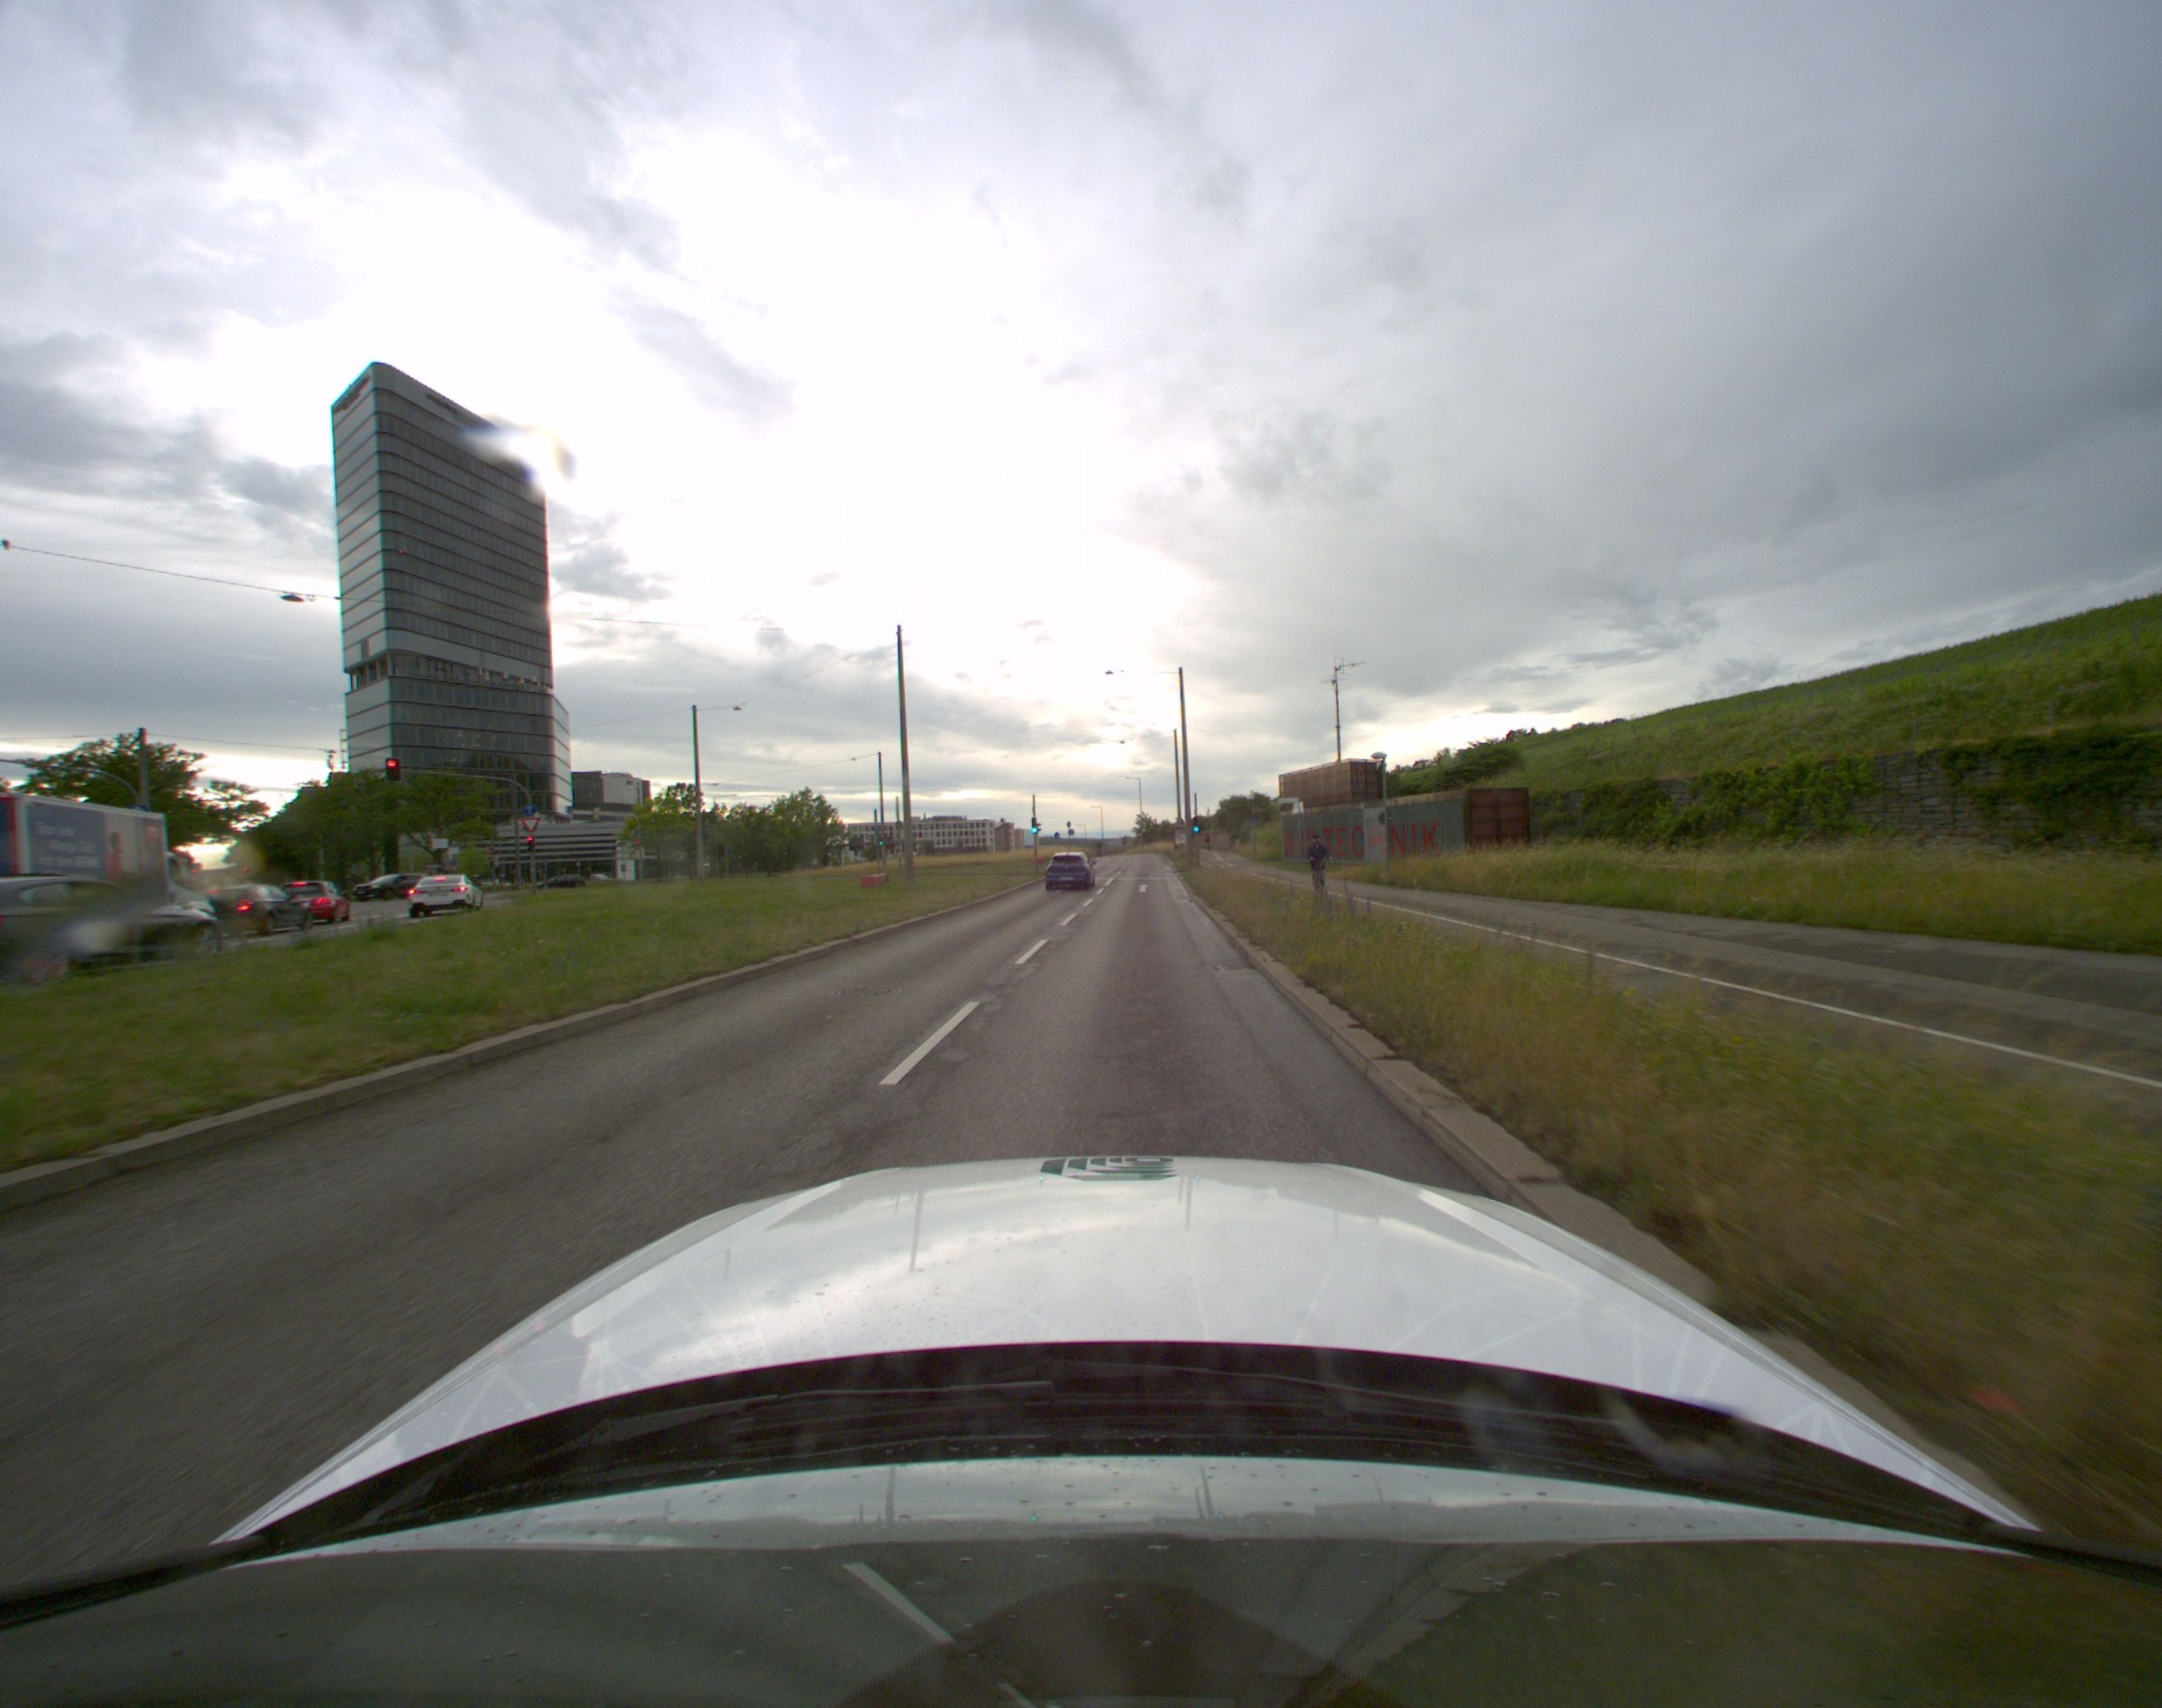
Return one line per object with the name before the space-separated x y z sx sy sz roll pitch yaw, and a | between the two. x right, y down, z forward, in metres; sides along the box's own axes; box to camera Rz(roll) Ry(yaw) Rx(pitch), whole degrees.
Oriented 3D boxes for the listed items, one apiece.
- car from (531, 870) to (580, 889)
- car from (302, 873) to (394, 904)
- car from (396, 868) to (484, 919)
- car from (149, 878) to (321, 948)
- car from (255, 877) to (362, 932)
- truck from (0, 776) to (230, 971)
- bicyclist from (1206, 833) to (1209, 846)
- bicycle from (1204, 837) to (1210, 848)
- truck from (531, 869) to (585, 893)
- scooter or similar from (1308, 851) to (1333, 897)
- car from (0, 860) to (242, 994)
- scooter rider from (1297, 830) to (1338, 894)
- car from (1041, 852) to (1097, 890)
car | -48.569 2.369 75.339 3.590 1.561 1.628 -2 1 -41
car | -44.029 2.052 49.006 1.729 1.617 3.753 0 1 11
car | -23.248 1.413 29.708 1.932 1.643 4.347 -2 -1 -31
car | -23.112 1.519 22.473 2.004 1.566 3.965 -2 1 -26
car | -26.258 1.675 27.825 1.826 1.623 3.959 -2 -1 -32
truck | -20.123 0.341 15.922 2.681 3.219 6.492 -1 1 -26
bicyclist | 12.388 -1.417 79.947 0.264 1.196 0.316 -1 1 6
bicycle | 12.404 -1.159 79.901 0.548 1.068 0.616 -1 1 6
truck | -50.413 2.591 78.529 4.023 2.013 1.975 -2 1 -43
scooter or similar | 6.368 0.518 21.700 0.399 1.196 1.115 0 1 4
car | -13.830 0.892 10.924 1.874 1.461 3.952 -3 1 -18
scooter rider | 6.342 0.208 21.882 0.802 1.628 0.829 -3 0 3
car | -0.436 0.632 33.095 1.829 1.393 4.006 -1 0 5
